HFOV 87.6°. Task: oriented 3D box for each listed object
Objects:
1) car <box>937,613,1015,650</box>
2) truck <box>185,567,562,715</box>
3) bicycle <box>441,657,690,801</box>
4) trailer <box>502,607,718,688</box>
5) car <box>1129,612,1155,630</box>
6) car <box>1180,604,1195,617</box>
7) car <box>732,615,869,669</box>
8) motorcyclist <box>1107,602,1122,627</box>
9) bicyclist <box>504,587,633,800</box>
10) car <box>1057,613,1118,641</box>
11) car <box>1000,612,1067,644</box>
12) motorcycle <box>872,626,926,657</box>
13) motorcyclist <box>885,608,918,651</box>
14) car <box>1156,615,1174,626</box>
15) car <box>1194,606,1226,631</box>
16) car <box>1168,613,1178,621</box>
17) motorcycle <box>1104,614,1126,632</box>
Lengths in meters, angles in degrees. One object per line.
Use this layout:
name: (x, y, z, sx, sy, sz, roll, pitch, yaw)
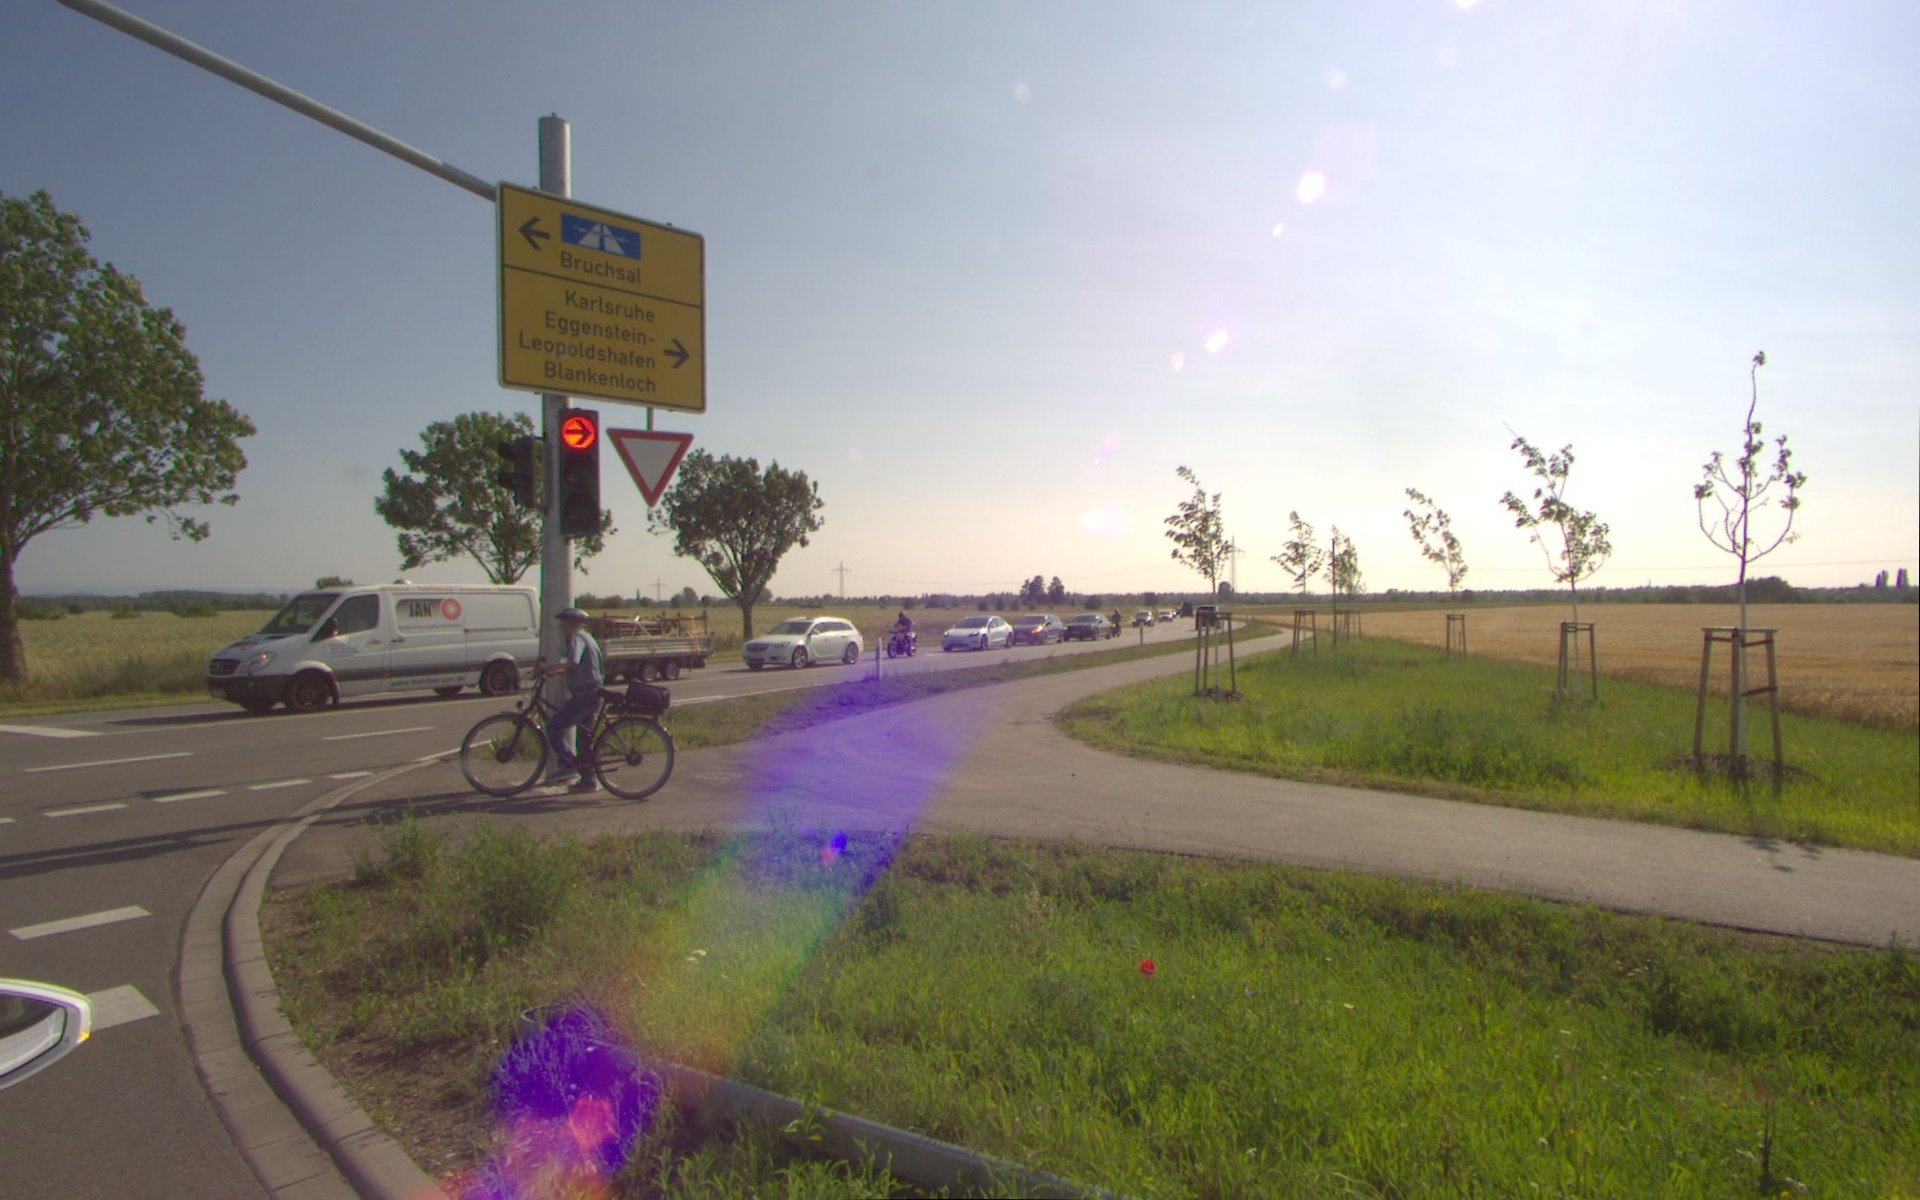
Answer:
car: (0.750, 1.290, 42.905, 1.864, 1.486, 4.264, 0, 0, 23)
truck: (-11.124, 0.719, 19.678, 2.041, 2.436, 6.168, -1, -1, 31)
bicycle: (-3.409, 1.127, 8.839, 1.910, 1.165, 0.681, 3, -2, -13)
trailer: (-8.389, 1.086, 24.551, 1.950, 1.760, 4.992, -1, -1, 28)
car: (17.759, 2.041, 97.696, 1.858, 1.646, 3.993, -3, -2, 19)
car: (38.026, 1.806, 167.287, 2.022, 2.039, 4.001, 0, -2, 8)
car: (-4.808, 1.244, 30.935, 1.738, 1.511, 4.689, -1, -1, 28)
motorcyclist: (9.615, 0.900, 62.254, 0.669, 1.515, 0.844, -1, 0, 25)
bicyclist: (-3.423, 0.817, 8.826, 0.901, 1.787, 0.619, 3, -2, -13)
car: (7.103, 1.486, 55.491, 1.866, 1.455, 4.779, -1, -1, 27)
car: (3.642, 1.354, 49.127, 1.866, 1.480, 4.292, -1, -1, 25)
motorcycle: (-2.203, 1.495, 36.659, 0.885, 1.057, 2.419, -1, 0, 26)
motorcyclist: (-2.138, 1.065, 36.802, 0.670, 1.535, 1.176, -1, 0, 27)
car: (26.192, 2.588, 127.869, 1.606, 1.394, 4.415, -3, -2, 18)
car: (19.477, 1.427, 77.994, 1.814, 1.857, 4.456, 0, -1, 22)
car: (48.649, 3.966, 228.544, 1.899, 1.715, 3.887, 0, -2, 8)
motorcycle: (9.639, 1.397, 62.308, 0.859, 1.087, 1.962, -1, -1, 25)
